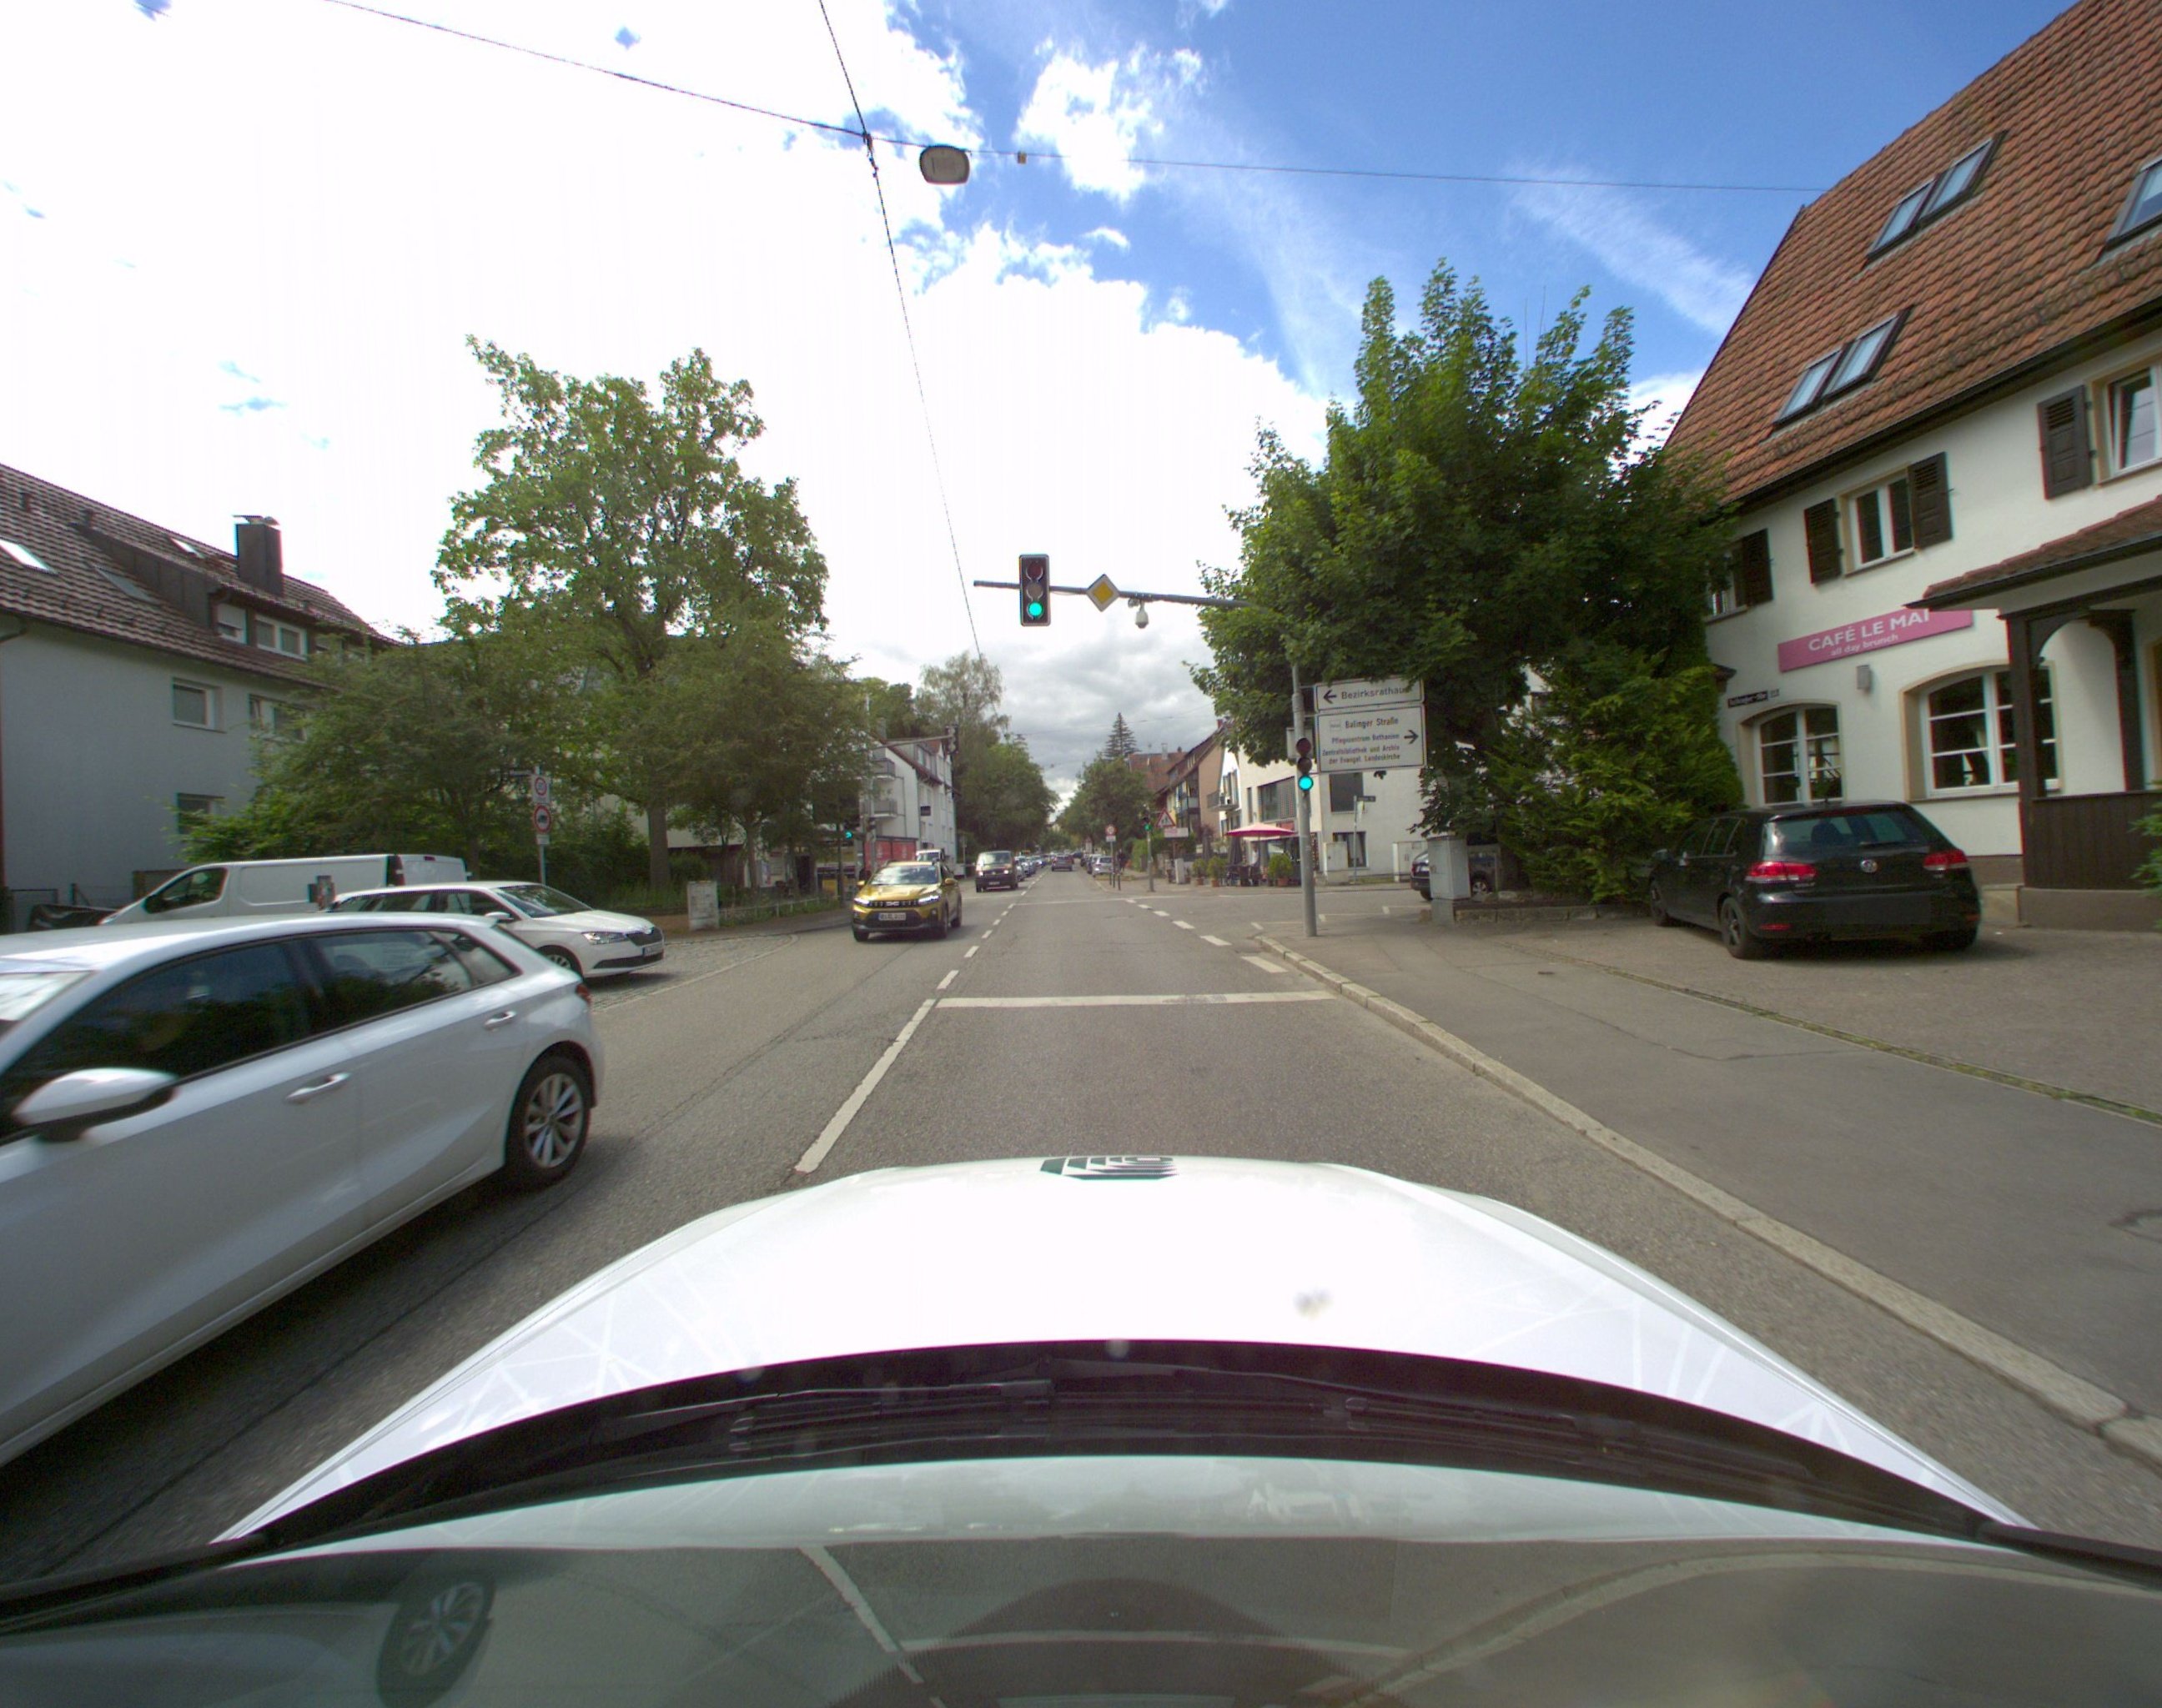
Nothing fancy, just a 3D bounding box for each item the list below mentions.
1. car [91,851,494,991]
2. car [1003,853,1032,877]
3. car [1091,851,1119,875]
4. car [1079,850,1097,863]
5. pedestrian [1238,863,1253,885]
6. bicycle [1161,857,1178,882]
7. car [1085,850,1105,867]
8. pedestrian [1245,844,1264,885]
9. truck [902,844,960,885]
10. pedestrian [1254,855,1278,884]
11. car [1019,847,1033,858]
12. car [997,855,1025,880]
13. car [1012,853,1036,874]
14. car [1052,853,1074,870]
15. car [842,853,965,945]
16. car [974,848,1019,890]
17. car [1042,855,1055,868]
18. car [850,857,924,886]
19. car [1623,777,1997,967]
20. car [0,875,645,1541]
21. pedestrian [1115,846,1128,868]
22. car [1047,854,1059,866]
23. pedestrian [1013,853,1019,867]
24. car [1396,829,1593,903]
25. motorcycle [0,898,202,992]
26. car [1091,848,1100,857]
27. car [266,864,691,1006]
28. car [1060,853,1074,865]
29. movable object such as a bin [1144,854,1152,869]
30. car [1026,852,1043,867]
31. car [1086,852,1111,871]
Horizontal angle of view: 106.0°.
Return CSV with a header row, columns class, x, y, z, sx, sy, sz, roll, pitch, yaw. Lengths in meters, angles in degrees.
class,x,y,z,sx,sy,sz,roll,pitch,yaw
car,-13.233,1.045,13.985,4.613,2.009,2.092,-2,0,-5
car,-4.681,0.770,60.424,1.801,1.571,4.157,-5,0,-1
car,1.595,0.569,55.280,1.696,1.480,4.870,-1,0,-1
car,0.793,0.282,93.917,1.797,1.445,4.883,-1,0,-2
pedestrian,7.156,0.878,35.476,0.420,0.938,0.494,-2,-1,-22
bicycle,4.331,0.726,39.970,0.717,1.150,2.215,-3,0,4
car,1.275,0.390,75.135,1.617,1.507,3.777,-3,0,-1
pedestrian,7.588,0.459,35.601,0.429,1.762,0.671,-2,-1,-22
truck,-9.466,0.633,52.005,2.216,2.380,6.327,-2,0,1
pedestrian,7.092,0.590,31.238,0.569,1.089,0.628,-2,-1,-27
car,-9.996,-0.255,148.404,2.138,1.980,4.932,-2,0,1
car,-4.465,0.843,52.537,1.614,1.486,3.808,-3,0,-4
car,-4.756,0.775,68.360,1.724,1.502,4.373,-5,1,-2
car,-1.602,0.655,74.854,1.970,1.513,4.266,1,0,-1
car,-3.495,0.813,16.721,1.724,1.538,3.997,-2,1,-2
car,-4.095,0.688,40.129,1.873,1.912,4.746,-2,0,-3
car,-4.853,1.118,121.956,1.781,1.648,4.489,-5,1,-1
car,-10.601,0.926,44.660,3.687,1.425,1.802,-2,0,-6
car,7.591,0.092,9.051,1.736,1.517,4.102,-6,0,23
car,-3.422,0.877,2.599,1.869,1.424,4.112,-2,0,-2
pedestrian,3.213,0.271,64.770,0.877,1.712,0.842,-2,-1,0
car,-4.527,0.960,132.424,1.780,1.591,4.152,-4,1,-1
pedestrian,-8.575,0.758,107.193,0.713,1.762,1.119,-2,-1,-6
car,9.928,0.235,19.590,4.183,1.415,1.768,-4,1,-18
motorcycle,-16.487,1.482,13.787,0.838,1.333,2.135,-2,0,1
car,3.508,-0.245,194.020,1.987,2.013,4.000,-2,0,1
car,-7.835,1.002,10.946,4.201,1.513,1.821,-2,1,-2
car,-1.898,0.718,111.588,1.810,1.500,4.266,-1,0,0
movable object such as a bin,4.978,0.556,60.753,0.521,1.080,0.605,-2,-1,4
car,-5.291,0.606,93.368,1.755,1.439,3.968,-5,1,-1
car,1.351,0.552,63.831,1.729,1.428,4.880,0,1,-1
